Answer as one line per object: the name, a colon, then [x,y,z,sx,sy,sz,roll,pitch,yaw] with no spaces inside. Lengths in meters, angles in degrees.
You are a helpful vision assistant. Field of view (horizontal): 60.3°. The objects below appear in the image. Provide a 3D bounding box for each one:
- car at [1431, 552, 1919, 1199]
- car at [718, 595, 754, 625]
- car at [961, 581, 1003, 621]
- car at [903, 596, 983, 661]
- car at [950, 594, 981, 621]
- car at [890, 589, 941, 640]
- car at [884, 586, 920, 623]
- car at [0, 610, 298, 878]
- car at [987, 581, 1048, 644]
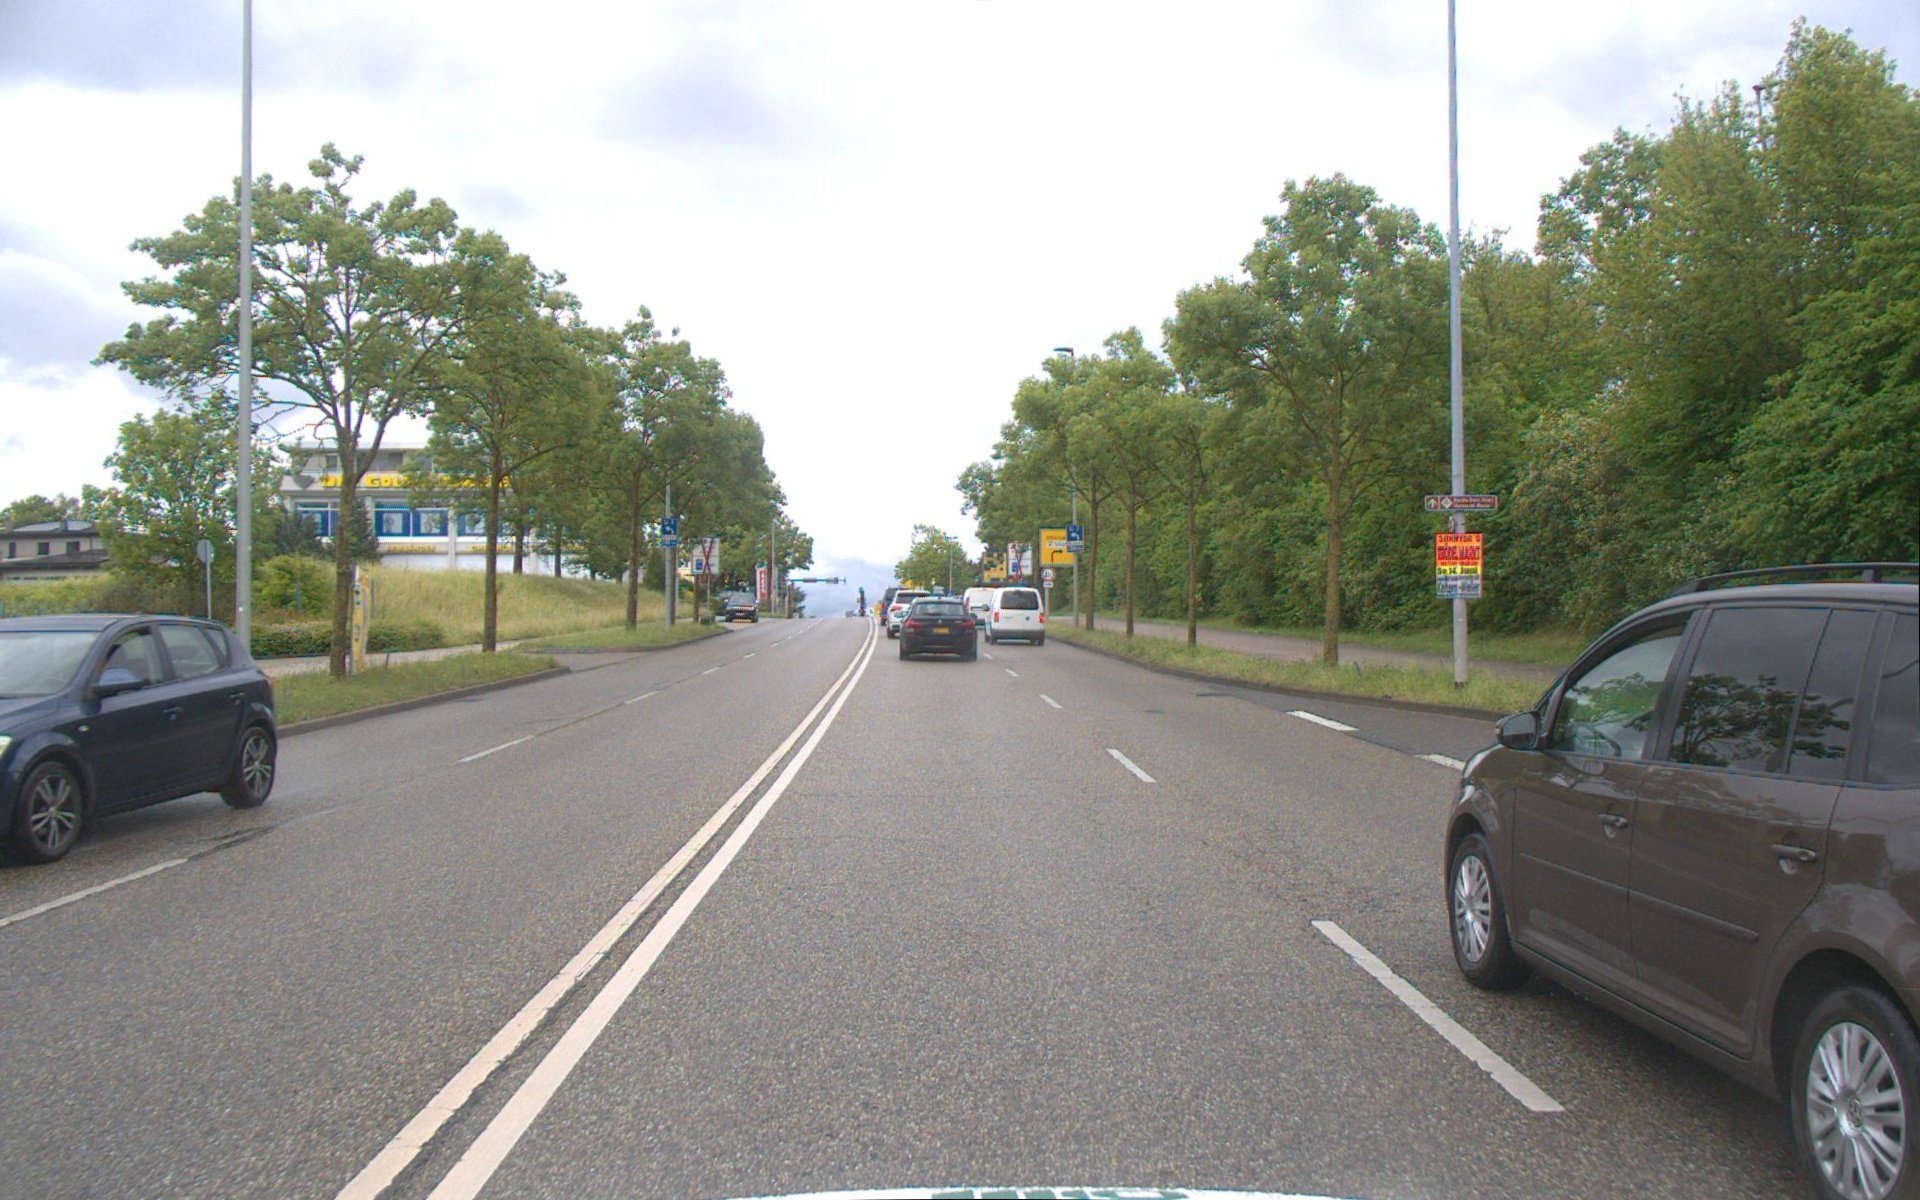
car: [2.980,0.722,5.199,1.679,1.624,4.128,1,0,-2]
car: [-13.227,0.566,97.922,1.692,1.697,4.485,1,0,-3]
car: [0.978,0.044,75.266,1.777,1.738,3.944,0,0,-1]
car: [-0.419,0.659,39.826,1.817,1.444,3.956,1,0,-1]
car: [0.292,0.404,89.827,1.568,1.396,3.679,-1,0,-2]
car: [-1.535,0.497,58.580,1.693,1.741,3.382,1,0,0]
car: [-2.831,0.220,81.825,1.722,1.738,3.944,0,0,-1]
car: [-6.215,0.853,11.184,1.701,1.479,4.001,-2,0,2]
car: [1.822,0.394,53.469,1.706,1.902,3.944,1,0,-1]
